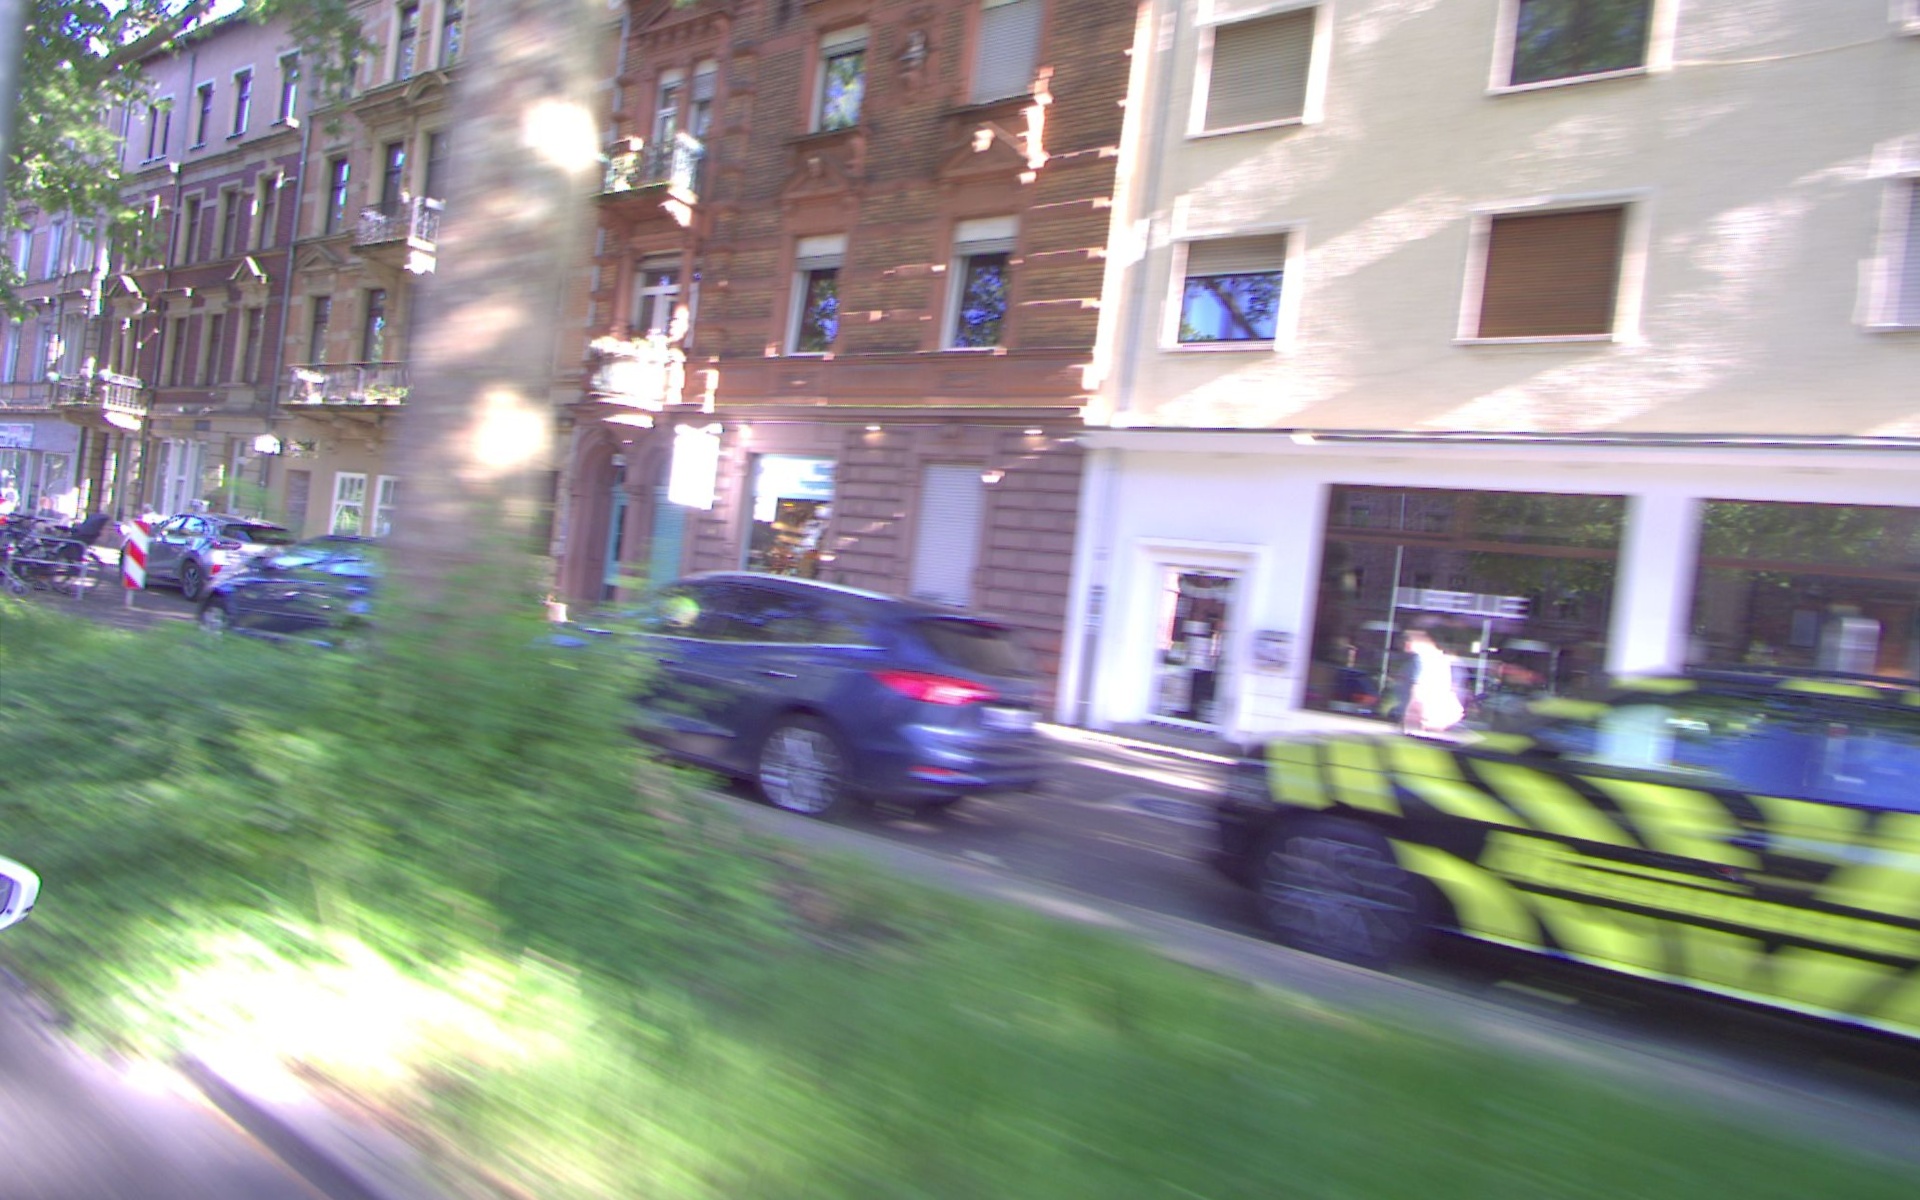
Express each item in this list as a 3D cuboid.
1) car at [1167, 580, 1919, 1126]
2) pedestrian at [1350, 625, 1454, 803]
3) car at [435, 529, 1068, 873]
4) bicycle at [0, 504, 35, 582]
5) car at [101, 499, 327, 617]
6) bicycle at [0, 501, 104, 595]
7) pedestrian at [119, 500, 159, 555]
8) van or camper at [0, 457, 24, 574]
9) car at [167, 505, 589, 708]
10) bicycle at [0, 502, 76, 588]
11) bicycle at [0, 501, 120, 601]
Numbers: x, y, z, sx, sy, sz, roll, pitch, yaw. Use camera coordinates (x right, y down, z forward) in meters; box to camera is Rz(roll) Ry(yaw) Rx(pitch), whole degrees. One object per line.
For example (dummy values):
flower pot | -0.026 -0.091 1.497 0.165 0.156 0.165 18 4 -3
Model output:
car | 3.276 0.993 4.349 4.190 1.548 1.698 8 0 32
pedestrian | 4.679 1.185 10.632 0.712 1.725 0.797 7 0 32
car | -1.689 0.536 7.376 4.506 1.525 1.697 8 0 32
bicycle | -17.548 -1.150 16.987 0.957 1.309 2.558 7 -2 25
car | -13.837 -0.801 18.626 4.115 1.595 1.759 7 -4 31
bicycle | -15.153 -0.893 15.908 0.966 1.309 2.169 7 -2 32
pedestrian | -24.355 -2.155 29.844 0.755 1.494 0.598 7 0 33
van or camper | -20.031 -1.884 19.050 4.693 2.120 1.840 7 -4 30
car | -5.971 0.029 10.215 4.123 1.422 1.839 7 -4 32
bicycle | -16.223 -1.005 16.577 0.965 1.309 2.173 7 -2 21
bicycle | -14.276 -0.802 15.181 0.967 1.309 2.168 7 -2 33
